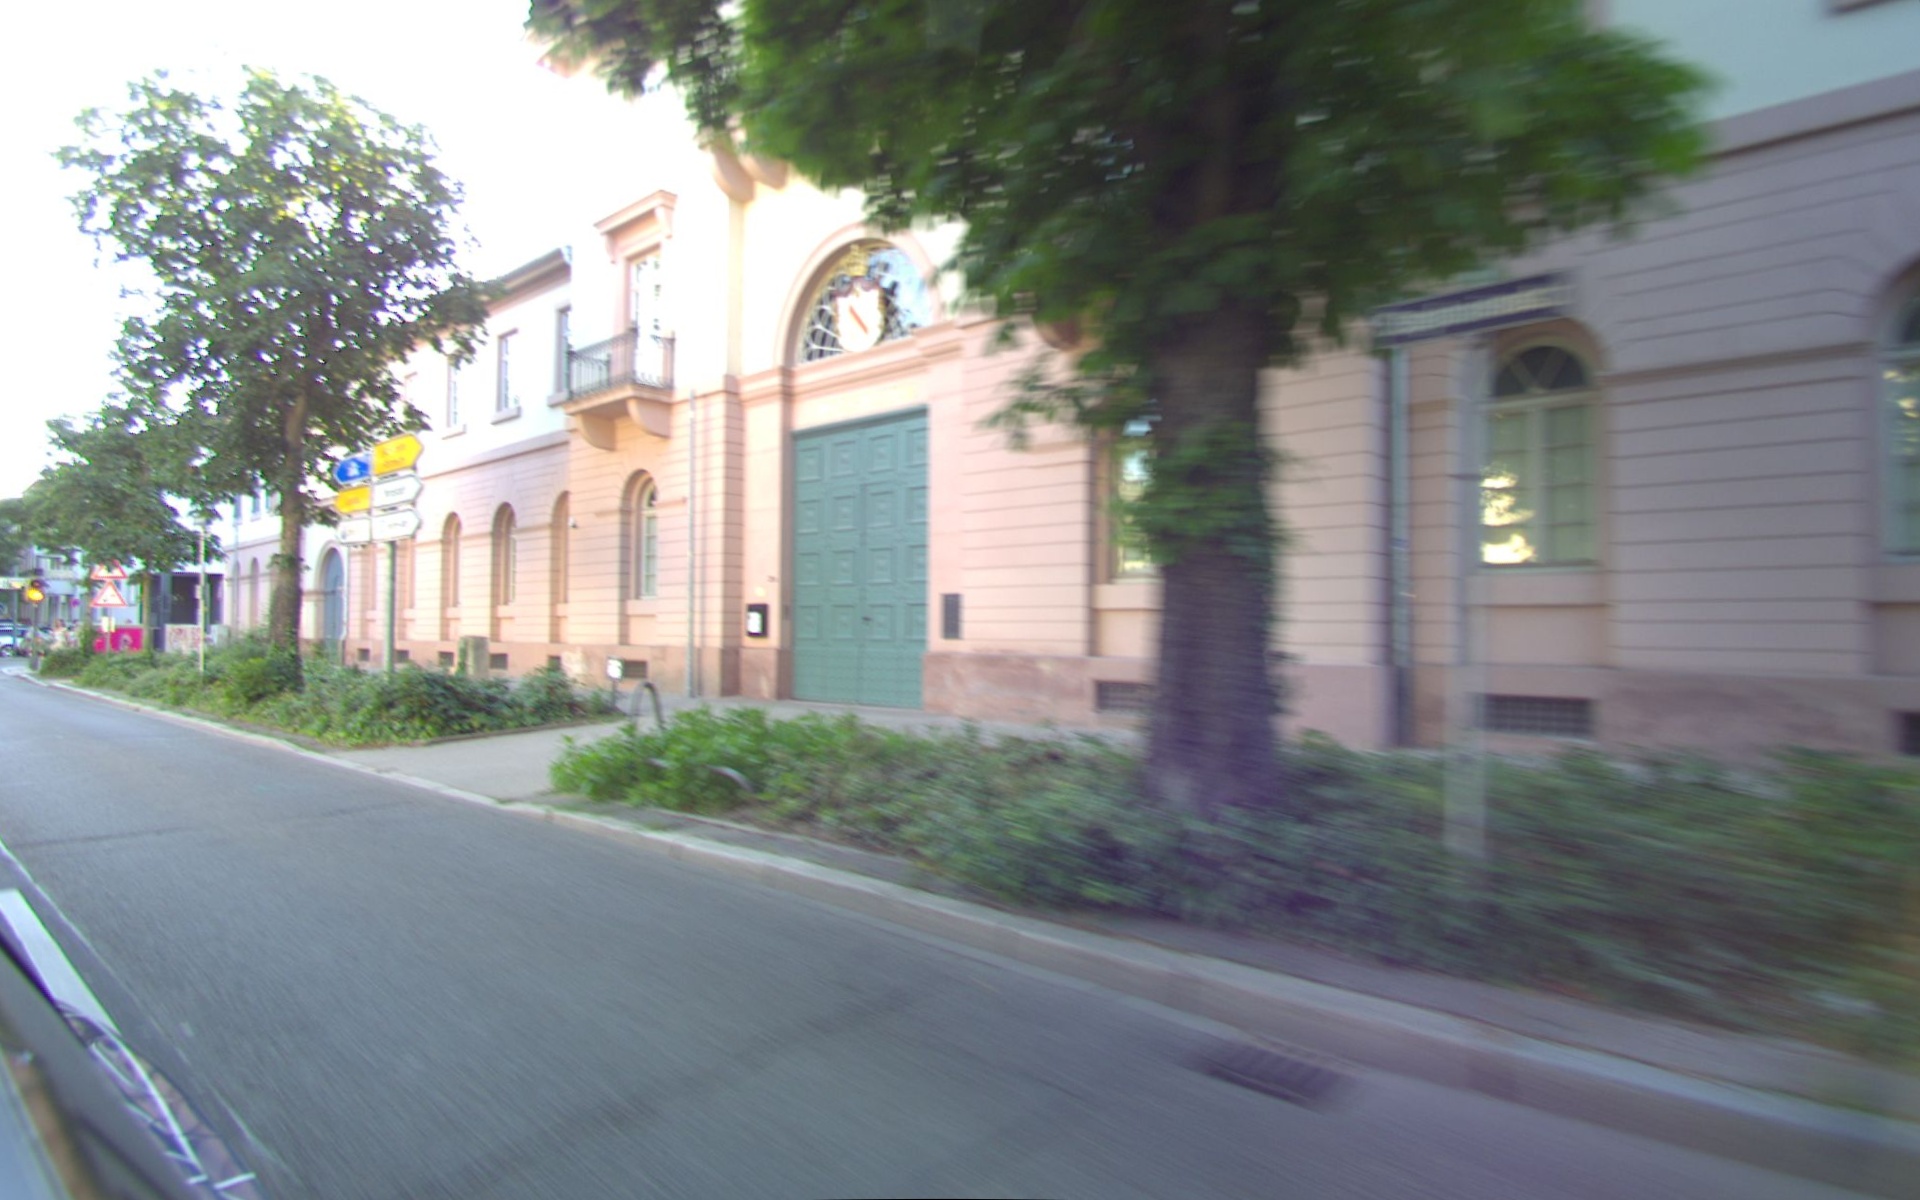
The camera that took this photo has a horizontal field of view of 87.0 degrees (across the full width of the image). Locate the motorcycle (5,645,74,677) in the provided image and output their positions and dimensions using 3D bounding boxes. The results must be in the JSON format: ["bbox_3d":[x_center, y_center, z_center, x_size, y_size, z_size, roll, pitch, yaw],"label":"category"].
[{"bbox_3d":[-42.146,2.782,46.385,2.118,1.430,0.971,2,-2,-27],"label":"motorcycle"}]

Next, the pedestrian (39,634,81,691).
[{"bbox_3d":[-29.968,2.069,33.726,0.779,1.804,0.773,-2,-1,-21],"label":"pedestrian"}]

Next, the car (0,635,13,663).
[{"bbox_3d":[-71.171,3.508,72.265,2.188,2.006,4.938,-2,-3,40],"label":"car"}]

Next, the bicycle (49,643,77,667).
[{"bbox_3d":[-38.859,2.381,43.850,2.025,0.980,0.767,-2,-3,45],"label":"bicycle"}]

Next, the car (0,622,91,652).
[{"bbox_3d":[-44.252,1.777,48.543,1.843,1.321,3.701,-2,-1,41],"label":"car"}]

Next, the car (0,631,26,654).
[{"bbox_3d":[-63.131,2.795,65.478,1.854,1.462,3.804,-3,-3,41],"label":"car"}]

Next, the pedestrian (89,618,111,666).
[{"bbox_3d":[-33.721,1.645,39.679,0.546,1.864,0.613,2,-3,-34],"label":"pedestrian"}]

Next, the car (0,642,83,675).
[{"bbox_3d":[-46.228,2.920,50.359,1.734,1.469,3.703,-2,-1,41],"label":"car"}]

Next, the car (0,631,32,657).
[{"bbox_3d":[-59.537,2.720,61.930,3.983,1.505,1.781,-1,-1,-45],"label":"car"}]
